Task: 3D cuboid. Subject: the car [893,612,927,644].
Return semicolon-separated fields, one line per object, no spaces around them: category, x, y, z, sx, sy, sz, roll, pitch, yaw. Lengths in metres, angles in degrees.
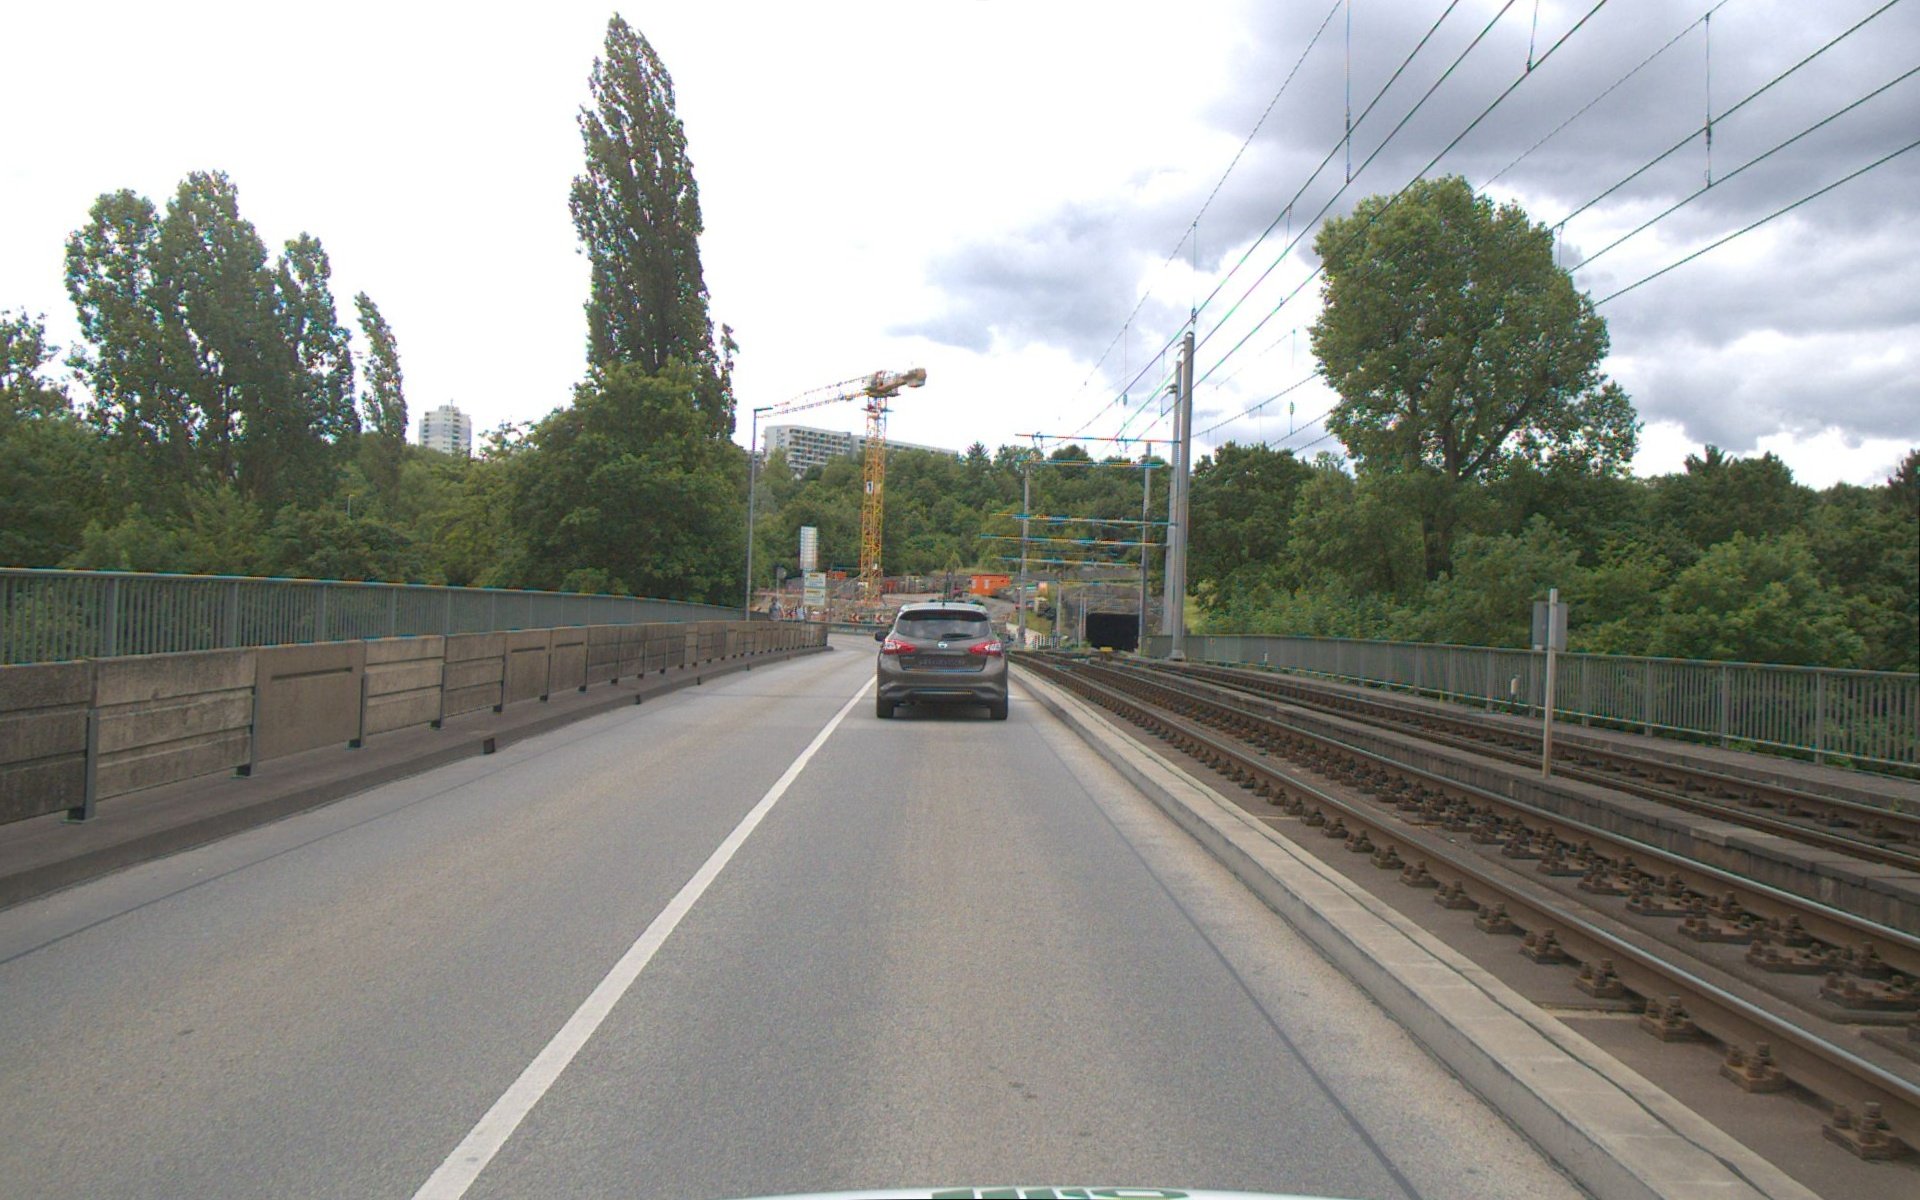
car;-2.733;1.485;89.837;1.647;1.634;4.305;1;0;-4

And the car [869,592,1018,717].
car;-0.313;0.714;23.013;1.794;1.536;3.996;2;-1;-4

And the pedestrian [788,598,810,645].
pedestrian;-6.062;0.815;62.370;0.706;1.731;0.723;2;-1;-1

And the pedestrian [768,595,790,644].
pedestrian;-6.940;0.745;63.379;0.706;1.872;0.723;2;-1;-1
